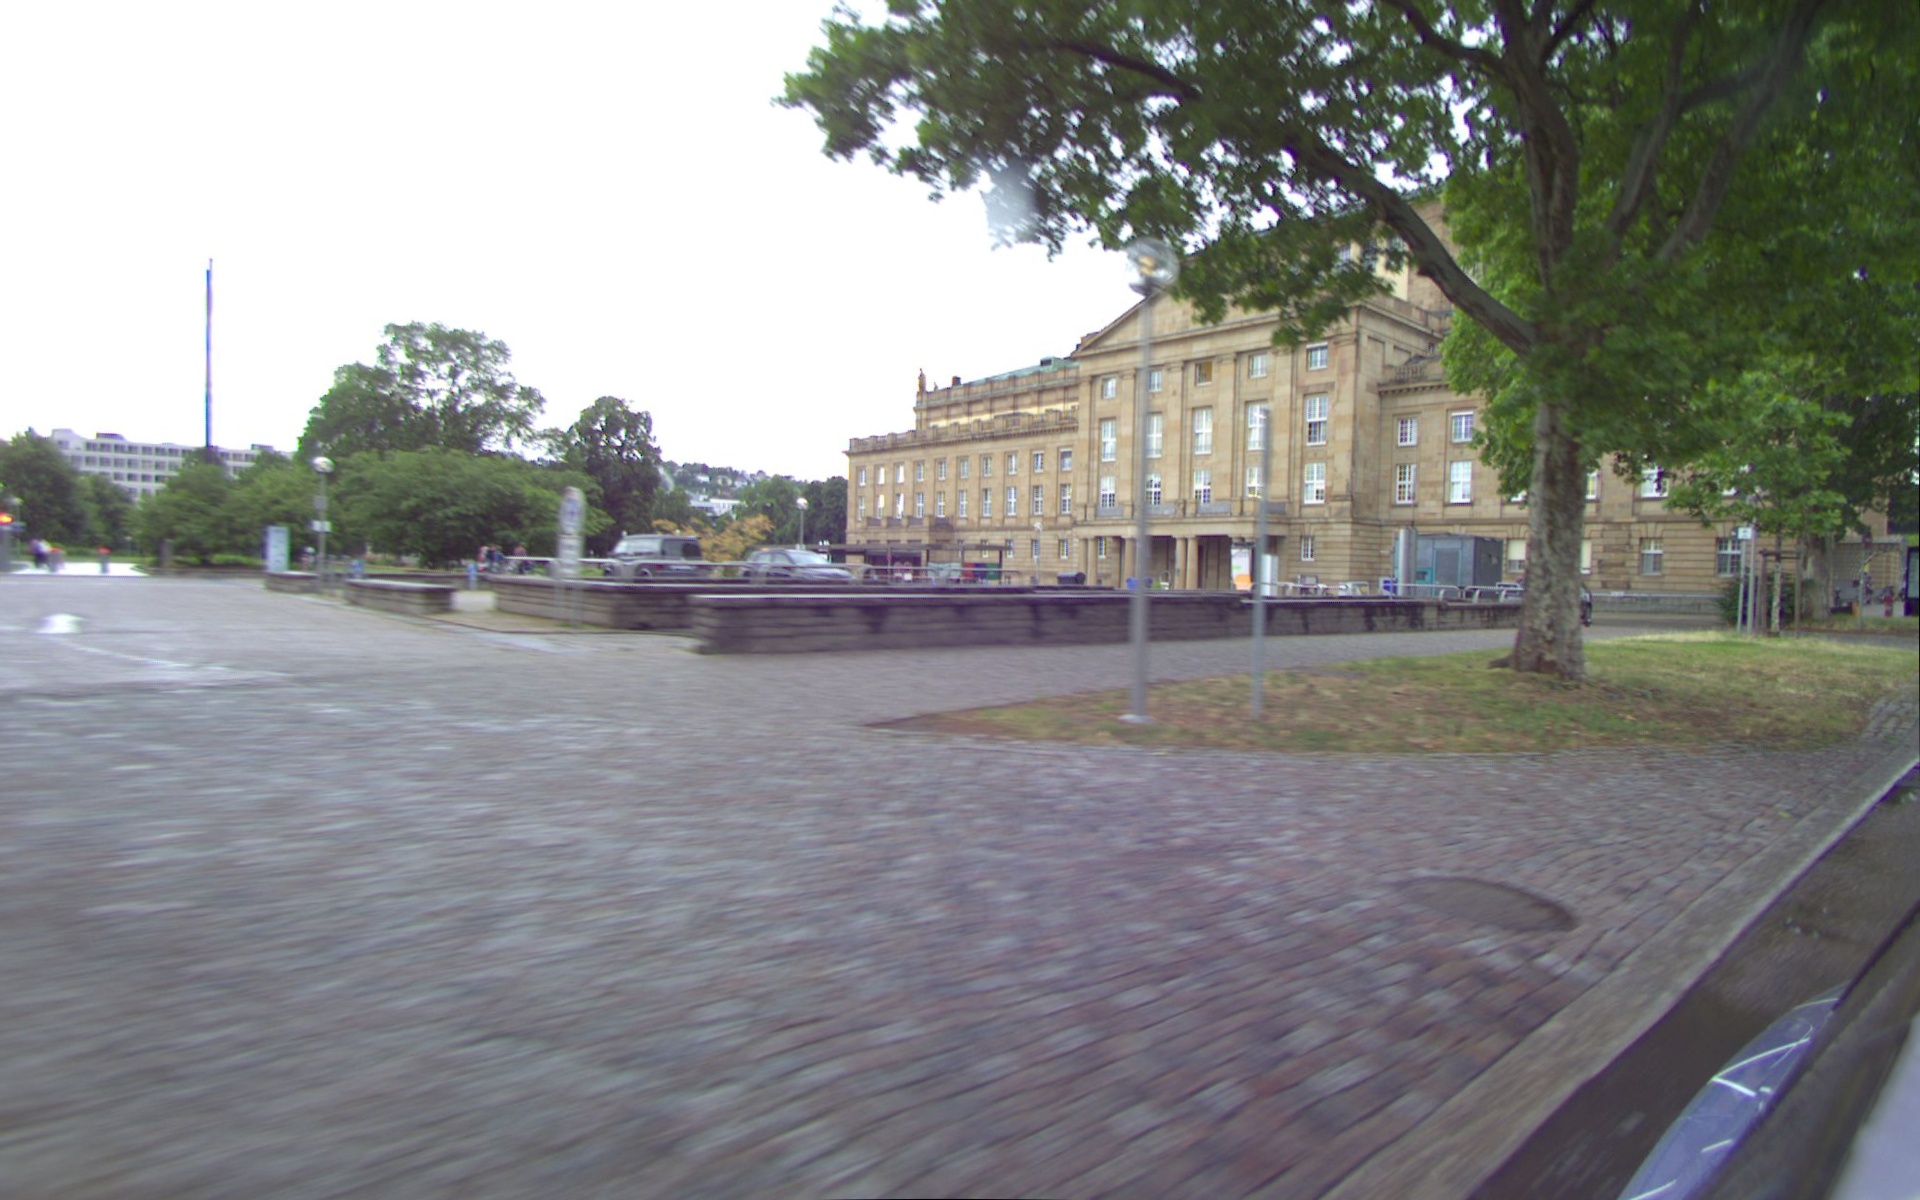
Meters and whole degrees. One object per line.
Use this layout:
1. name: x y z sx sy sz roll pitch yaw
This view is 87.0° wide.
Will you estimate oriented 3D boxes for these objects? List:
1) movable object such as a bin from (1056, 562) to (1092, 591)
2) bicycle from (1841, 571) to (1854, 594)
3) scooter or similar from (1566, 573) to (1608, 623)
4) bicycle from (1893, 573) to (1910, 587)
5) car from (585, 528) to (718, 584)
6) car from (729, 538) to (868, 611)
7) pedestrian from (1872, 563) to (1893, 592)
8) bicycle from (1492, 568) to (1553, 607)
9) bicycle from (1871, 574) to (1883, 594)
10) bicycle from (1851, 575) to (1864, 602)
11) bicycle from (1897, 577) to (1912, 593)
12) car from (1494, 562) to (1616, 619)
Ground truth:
1. movable object such as a bin: 6.129 -1.290 54.456 1.227 1.474 1.494 -2 5 -40
2. bicycle: 48.863 -0.969 55.715 0.453 1.266 1.574 0 1 45
3. scooter or similar: 17.026 -0.071 27.512 0.536 1.270 1.431 2 3 15
4. bicycle: 70.134 -1.505 75.364 1.736 1.062 0.420 -1 2 -31
5. car: -10.855 -1.541 35.412 2.421 1.785 5.010 -1 3 -44
6. car: -4.127 -0.693 25.356 1.627 1.619 3.998 -1 4 -39
7. pedestrian: 58.764 -1.441 64.473 0.631 1.798 0.796 -1 5 -43
8. bicycle: 25.638 -0.581 46.133 2.314 1.687 0.763 2 3 42
9. bicycle: 56.665 -0.999 62.551 0.464 1.230 1.665 2 3 45
10. bicycle: 52.222 -0.687 58.900 0.453 1.534 1.574 0 1 45
11. bicycle: 65.825 -1.067 70.536 0.711 1.064 1.715 2 3 42
12. car: 18.680 -0.292 31.662 5.149 1.630 1.995 0 1 -44
